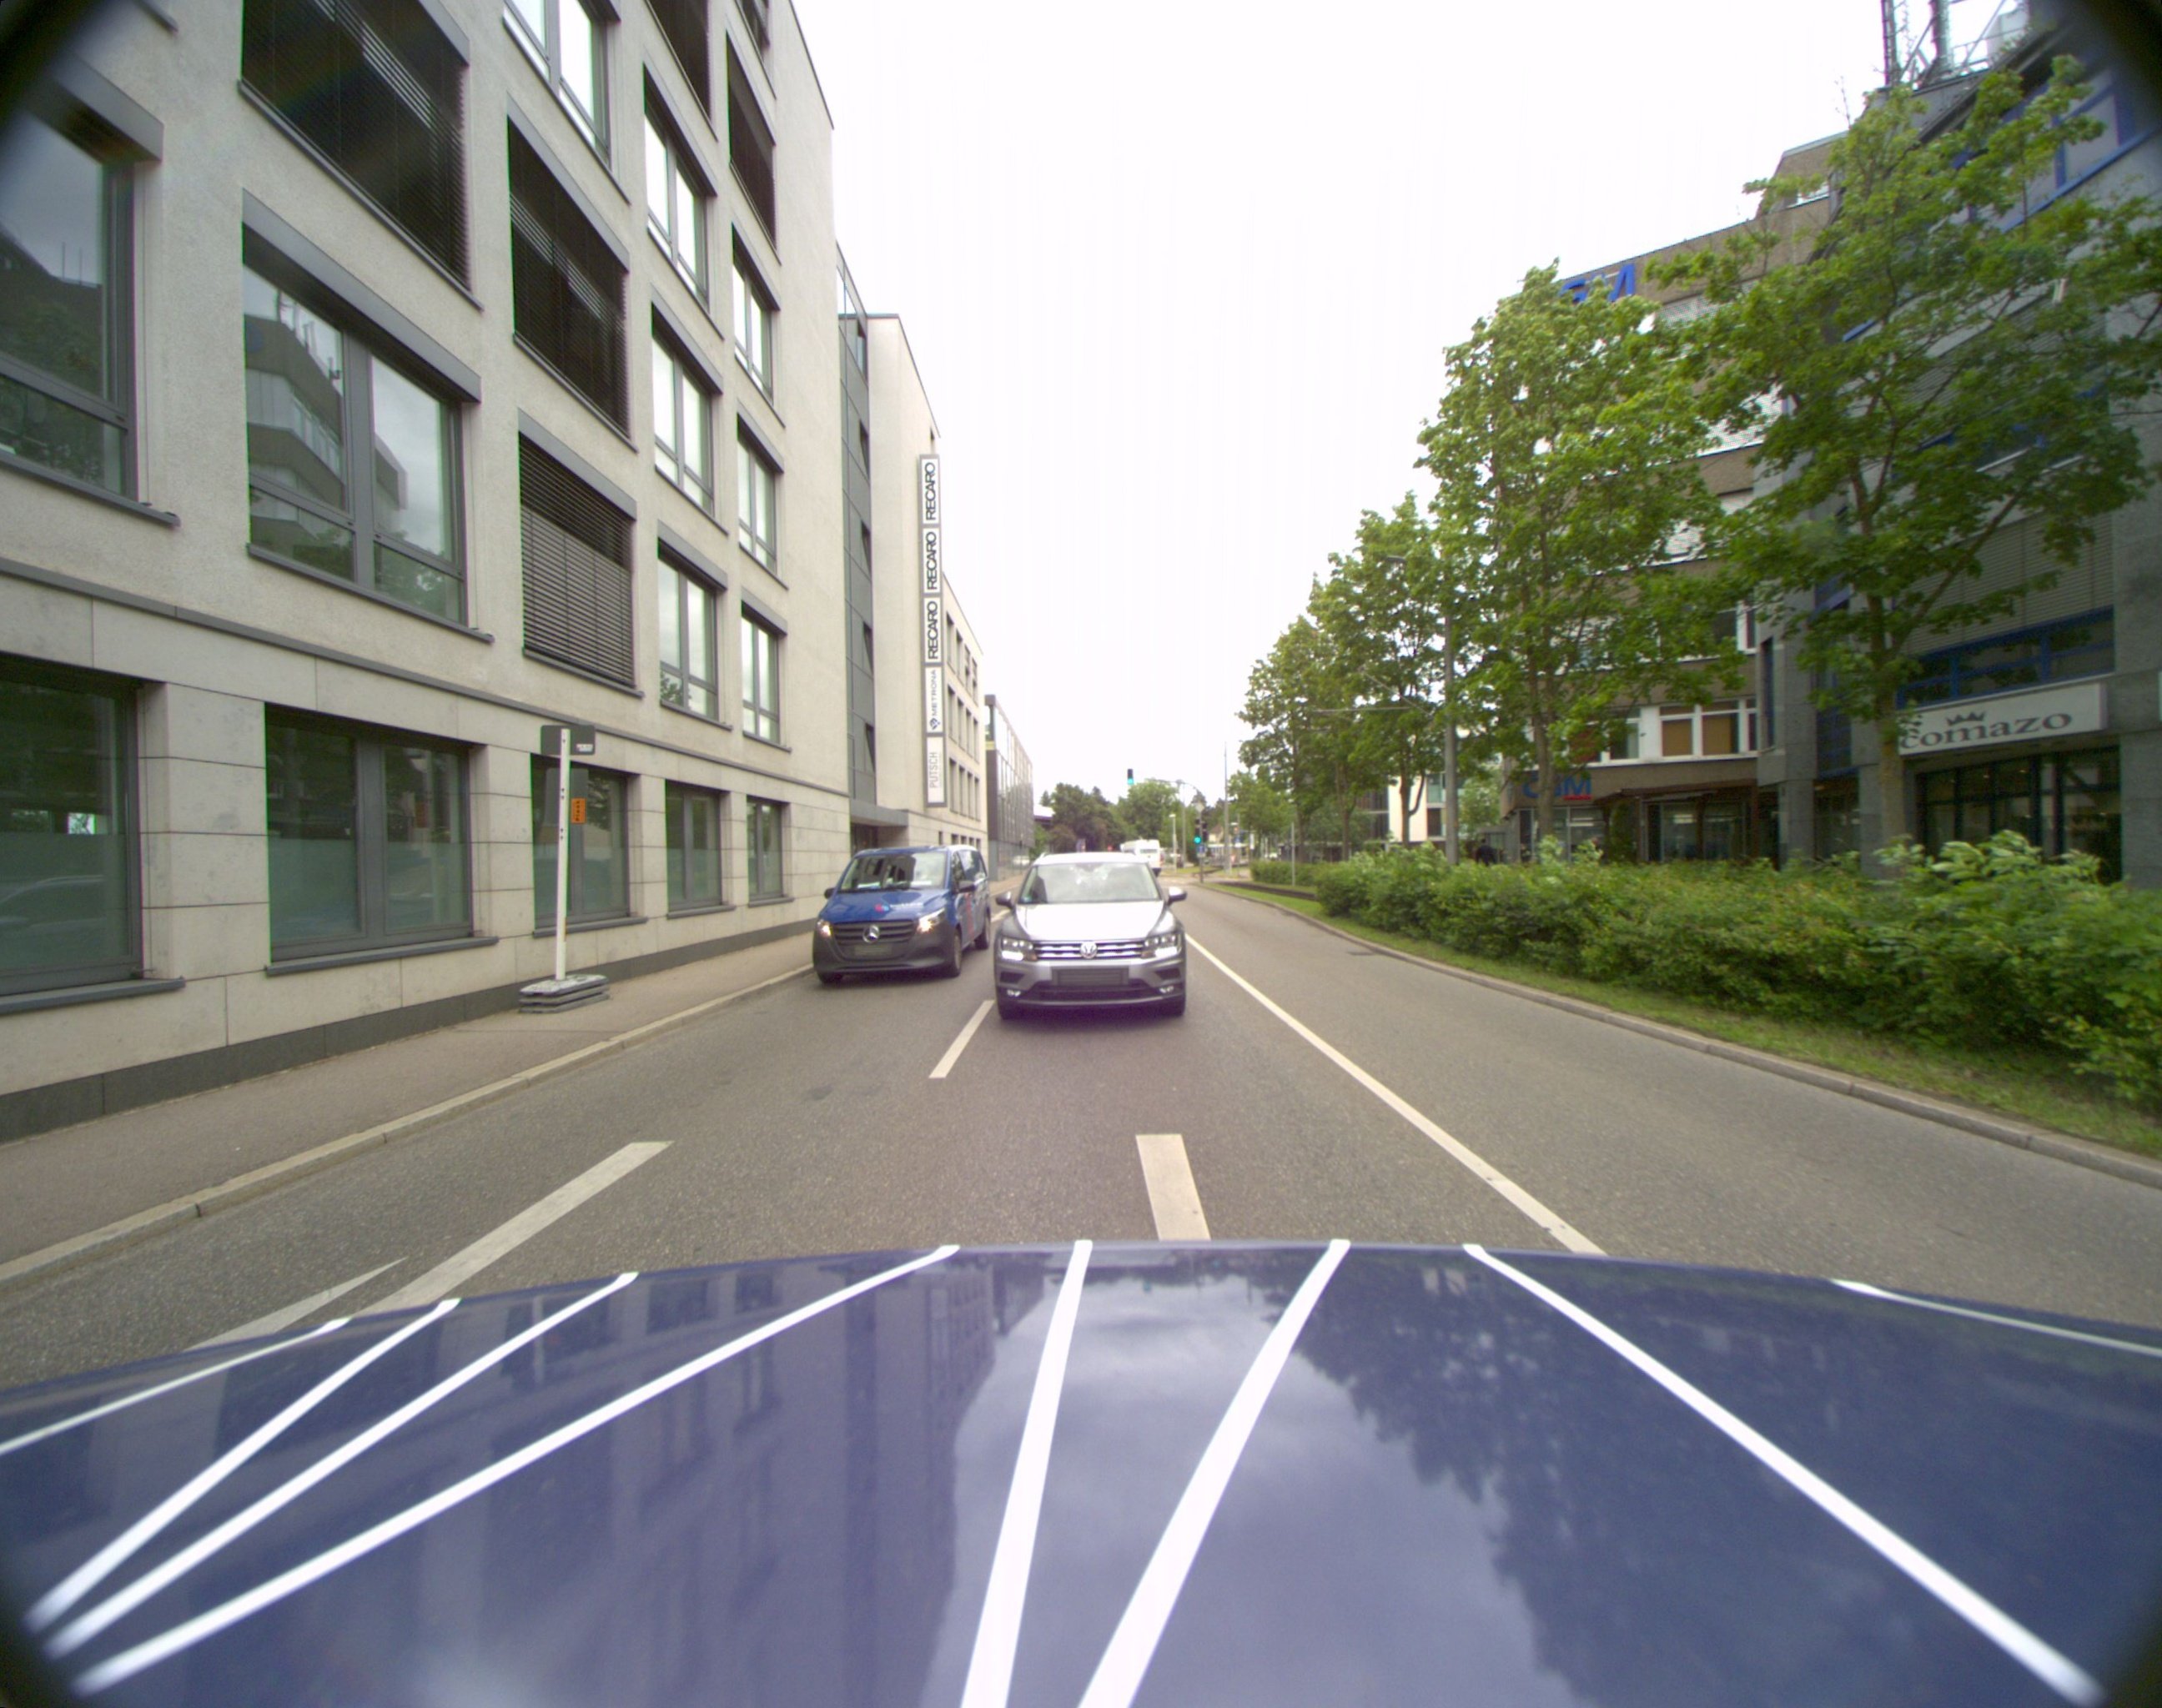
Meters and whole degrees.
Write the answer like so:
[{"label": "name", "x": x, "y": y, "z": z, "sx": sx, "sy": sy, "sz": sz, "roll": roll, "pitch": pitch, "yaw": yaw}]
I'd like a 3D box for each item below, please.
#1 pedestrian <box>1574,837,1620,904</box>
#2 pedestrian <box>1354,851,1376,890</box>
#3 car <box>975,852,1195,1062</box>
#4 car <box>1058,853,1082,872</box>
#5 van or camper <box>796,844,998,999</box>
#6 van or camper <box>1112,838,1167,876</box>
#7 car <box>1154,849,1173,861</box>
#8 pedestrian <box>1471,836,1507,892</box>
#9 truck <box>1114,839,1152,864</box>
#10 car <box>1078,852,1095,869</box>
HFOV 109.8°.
[{"label": "pedestrian", "x": 14.781, "y": 0.462, "z": 21.782, "sx": 0.776, "sy": 1.883, "sz": 0.731, "roll": -2, "pitch": 1, "yaw": 0}, {"label": "pedestrian", "x": 13.310, "y": 0.779, "z": 35.660, "sx": 0.680, "sy": 1.795, "sz": 0.731, "roll": -2, "pitch": 1, "yaw": -4}, {"label": "car", "x": 0.068, "y": 0.857, "z": 8.570, "sx": 1.798, "sy": 1.716, "sz": 4.458, "roll": -1, "pitch": 0, "yaw": 1}, {"label": "car", "x": -0.938, "y": 0.736, "z": 66.955, "sx": 1.890, "sy": 1.483, "sz": 4.000, "roll": -4, "pitch": 0, "yaw": 1}, {"label": "van or camper", "x": -2.579, "y": 0.840, "z": 12.033, "sx": 1.864, "sy": 1.900, "sz": 5.032, "roll": -1, "pitch": 0, "yaw": 1}, {"label": "van or camper", "x": 4.420, "y": 0.187, "z": 58.652, "sx": 2.115, "sy": 2.718, "sz": 6.143, "roll": -2, "pitch": 1, "yaw": -16}, {"label": "car", "x": 13.955, "y": 0.148, "z": 127.793, "sx": 1.995, "sy": 2.002, "sz": 4.006, "roll": -1, "pitch": 1, "yaw": 24}, {"label": "pedestrian", "x": 14.286, "y": 0.327, "z": 26.629, "sx": 0.816, "sy": 1.912, "sz": 0.731, "roll": -2, "pitch": 1, "yaw": 0}, {"label": "truck", "x": 8.048, "y": -0.471, "z": 116.682, "sx": 2.317, "sy": 3.626, "sz": 8.024, "roll": -1, "pitch": 1, "yaw": 31}, {"label": "car", "x": 0.726, "y": 0.803, "z": 95.674, "sx": 1.998, "sy": 2.002, "sz": 4.000, "roll": -2, "pitch": 1, "yaw": 1}]
